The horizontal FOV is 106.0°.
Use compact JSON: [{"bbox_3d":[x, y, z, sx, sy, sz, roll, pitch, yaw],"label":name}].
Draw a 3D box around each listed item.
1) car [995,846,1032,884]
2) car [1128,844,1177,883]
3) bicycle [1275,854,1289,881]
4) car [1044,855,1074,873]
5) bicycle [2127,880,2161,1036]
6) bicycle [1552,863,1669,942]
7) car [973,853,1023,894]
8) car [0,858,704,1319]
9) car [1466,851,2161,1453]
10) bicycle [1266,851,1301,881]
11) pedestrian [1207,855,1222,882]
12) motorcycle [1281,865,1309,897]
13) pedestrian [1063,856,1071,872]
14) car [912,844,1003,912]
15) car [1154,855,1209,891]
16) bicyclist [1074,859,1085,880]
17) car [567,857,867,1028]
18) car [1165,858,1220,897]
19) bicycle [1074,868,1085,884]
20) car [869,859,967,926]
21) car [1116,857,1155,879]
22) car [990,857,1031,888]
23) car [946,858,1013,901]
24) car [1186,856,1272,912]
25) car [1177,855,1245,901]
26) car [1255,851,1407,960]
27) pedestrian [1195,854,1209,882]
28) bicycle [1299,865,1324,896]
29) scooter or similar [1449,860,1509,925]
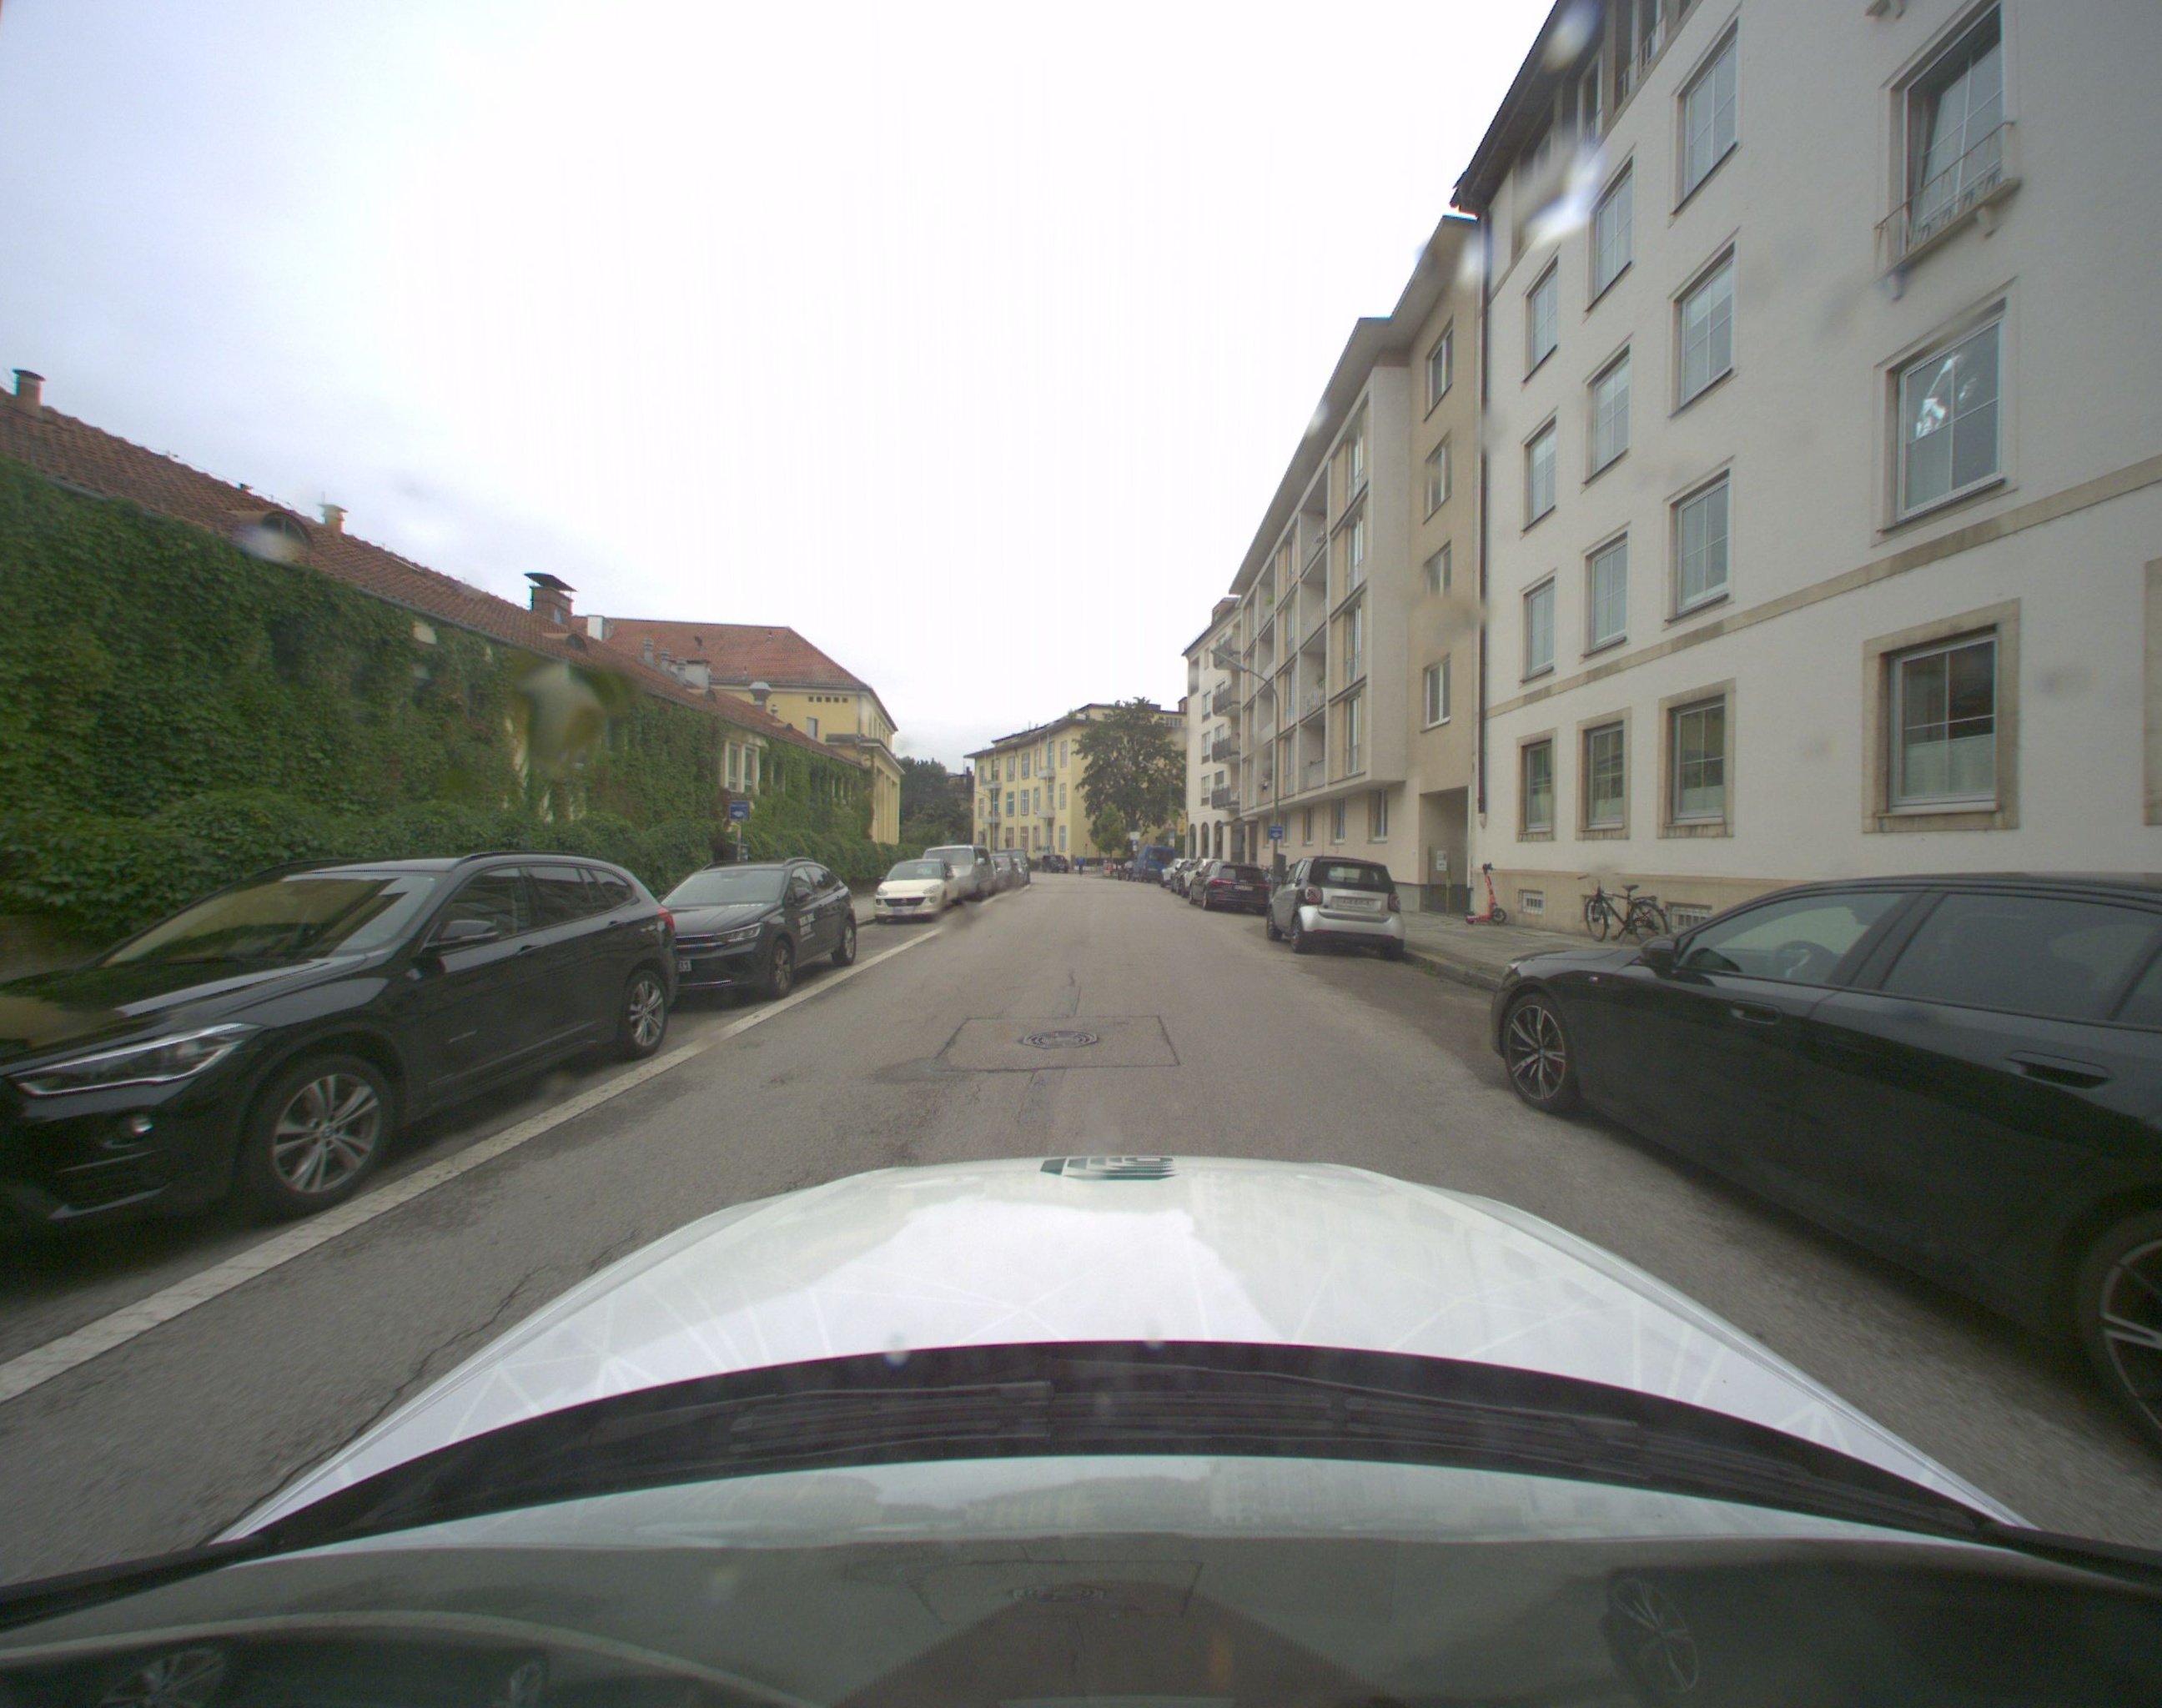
[{"bbox_3d":[-3.843,0.602,46.442,1.922,1.979,4.615,-3,0,-4],"label":"car"},{"bbox_3d":[4.463,0.643,51.457,2.106,2.214,5.018,5,-2,-5],"label":"car"},{"bbox_3d":[9.106,0.617,36.923,0.391,1.202,1.344,-3,-1,6],"label":"bicycle"},{"bbox_3d":[-2.434,1.096,88.323,1.880,1.887,4.586,0,0,-21],"label":"car"},{"bbox_3d":[7.889,0.733,4.876,0.595,1.080,2.040,-3,0,0],"label":"bicycle"},{"bbox_3d":[8.284,0.721,12.839,0.627,1.091,1.837,-2,0,1],"label":"bicycle"},{"bbox_3d":[-3.613,0.824,36.157,1.697,1.606,4.490,-3,0,0],"label":"car"},{"bbox_3d":[-4.199,0.837,4.892,1.763,1.502,4.273,-3,0,1],"label":"car"},{"bbox_3d":[3.571,0.743,3.203,1.867,1.447,4.699,1,0,0],"label":"car"},{"bbox_3d":[8.760,0.507,35.241,1.339,1.202,0.392,-3,-1,-13],"label":"bicycle"},{"bbox_3d":[7.887,0.857,48.002,0.709,1.605,0.699,-1,-1,-2],"label":"pedestrian"},{"bbox_3d":[8.864,1.089,33.807,0.633,1.271,2.041,-1,0,0],"label":"motorcycle"},{"bbox_3d":[-1.531,1.084,88.368,0.847,1.757,0.952,-1,0,-6],"label":"pedestrian"},{"bbox_3d":[-3.722,0.666,25.523,1.886,1.798,4.882,-4,0,1],"label":"car"},{"bbox_3d":[4.924,0.899,40.384,1.772,1.522,4.297,4,0,-5],"label":"car"},{"bbox_3d":[-0.152,1.365,70.832,0.911,1.764,1.215,0,0,0],"label":"bicyclist"},{"bbox_3d":[-4.041,0.855,9.922,1.712,1.481,4.218,-4,0,-1],"label":"car"},{"bbox_3d":[4.733,0.967,35.162,1.766,1.429,4.695,5,0,1],"label":"car"},{"bbox_3d":[-0.117,1.895,70.865,0.917,1.252,2.322,0,0,1],"label":"bicycle"},{"bbox_3d":[-3.962,0.879,20.297,1.661,1.409,3.558,-3,0,0],"label":"car"},{"bbox_3d":[3.806,0.934,57.367,1.715,1.395,3.986,4,-1,-10],"label":"car"},{"bbox_3d":[-3.535,0.909,41.383,1.702,1.365,4.000,-4,0,-1],"label":"car"},{"bbox_3d":[-3.771,0.904,31.073,1.797,1.377,4.492,-5,0,1],"label":"car"},{"bbox_3d":[4.297,0.822,24.241,1.820,1.381,4.493,2,0,2],"label":"car"},{"bbox_3d":[4.672,0.830,29.822,1.697,1.468,4.118,4,0,-1],"label":"car"},{"bbox_3d":[4.132,0.773,13.998,1.608,1.516,3.382,4,0,2],"label":"car"},{"bbox_3d":[7.128,0.827,48.033,0.677,1.628,0.828,-1,-1,-3],"label":"pedestrian"},{"bbox_3d":[8.923,1.006,31.569,0.512,1.157,1.601,-1,0,0],"label":"bicycle"},{"bbox_3d":[8.160,0.768,16.738,0.726,1.275,1.096,0,0,1],"label":"scooter or similar"}]
